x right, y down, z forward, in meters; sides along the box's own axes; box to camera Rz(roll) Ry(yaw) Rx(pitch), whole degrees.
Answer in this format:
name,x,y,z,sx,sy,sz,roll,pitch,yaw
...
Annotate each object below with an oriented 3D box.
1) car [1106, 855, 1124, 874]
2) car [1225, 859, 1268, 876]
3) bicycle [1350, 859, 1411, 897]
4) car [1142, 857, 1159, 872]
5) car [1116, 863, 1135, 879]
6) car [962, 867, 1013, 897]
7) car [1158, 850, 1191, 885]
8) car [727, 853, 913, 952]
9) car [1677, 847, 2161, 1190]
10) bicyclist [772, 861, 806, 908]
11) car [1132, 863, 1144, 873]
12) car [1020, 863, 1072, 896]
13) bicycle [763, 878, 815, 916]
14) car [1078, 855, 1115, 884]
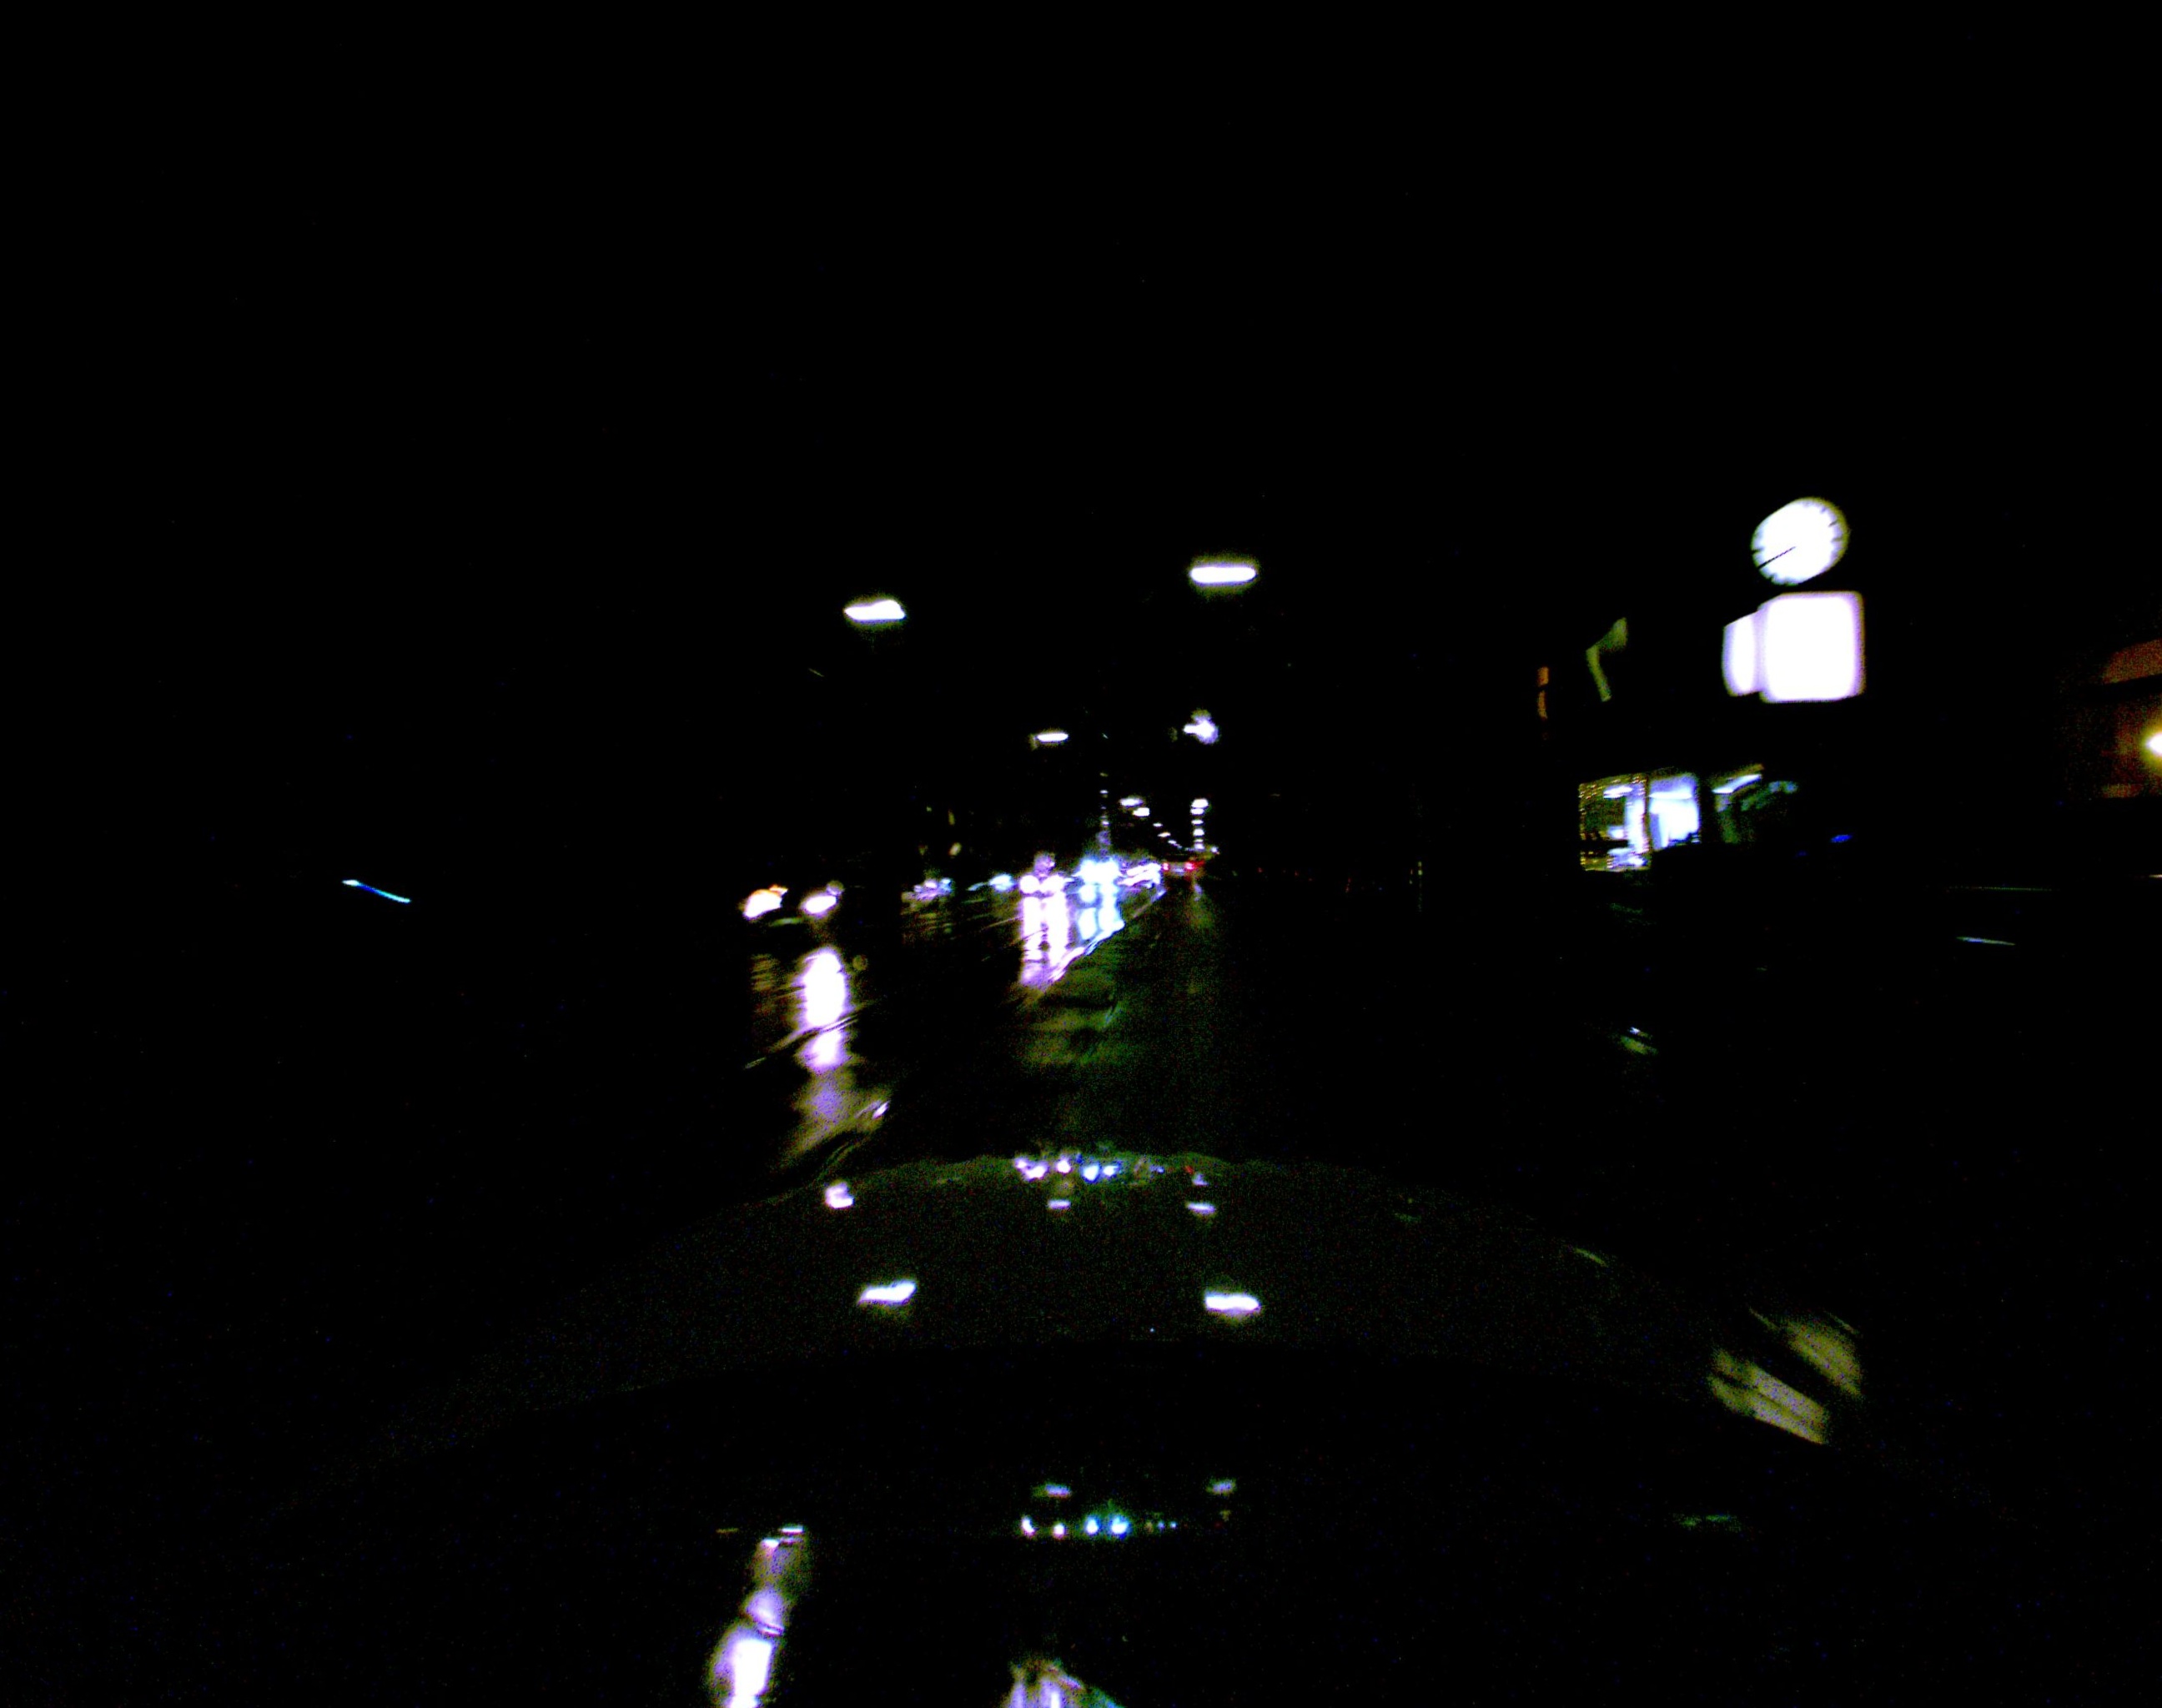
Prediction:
name,x,y,z,sx,sy,sz,roll,pitch,yaw
car,4.708,1.386,111.945,2.015,2.499,5.616,1,0,5
car,15.036,1.209,73.951,3.805,1.458,1.751,1,-1,-35
bicycle,10.186,0.820,27.735,1.805,1.164,0.493,-4,-2,5
car,9.237,1.418,108.297,1.927,1.816,4.395,-3,-1,9
car,4.275,1.600,77.923,1.643,1.479,4.212,-3,-1,5
car,-4.877,1.438,42.927,1.757,1.407,4.148,1,-1,6
car,6.767,0.965,59.125,2.205,2.442,5.393,0,-1,6
car,-5.550,0.982,18.024,1.883,1.869,4.549,-3,-1,11
car,5.841,0.749,5.007,1.636,1.442,4.063,-5,-1,7
bicyclist,-9.330,0.981,26.040,0.650,1.465,0.870,1,-2,11
car,10.731,2.728,154.235,1.989,1.785,4.008,1,-1,8
car,-1.651,1.194,39.430,1.782,1.464,3.910,-2,0,8
bicycle,-9.330,1.346,26.064,0.650,1.141,1.903,1,-1,11
car,1.157,1.025,57.324,1.915,1.879,4.648,-3,-1,8
